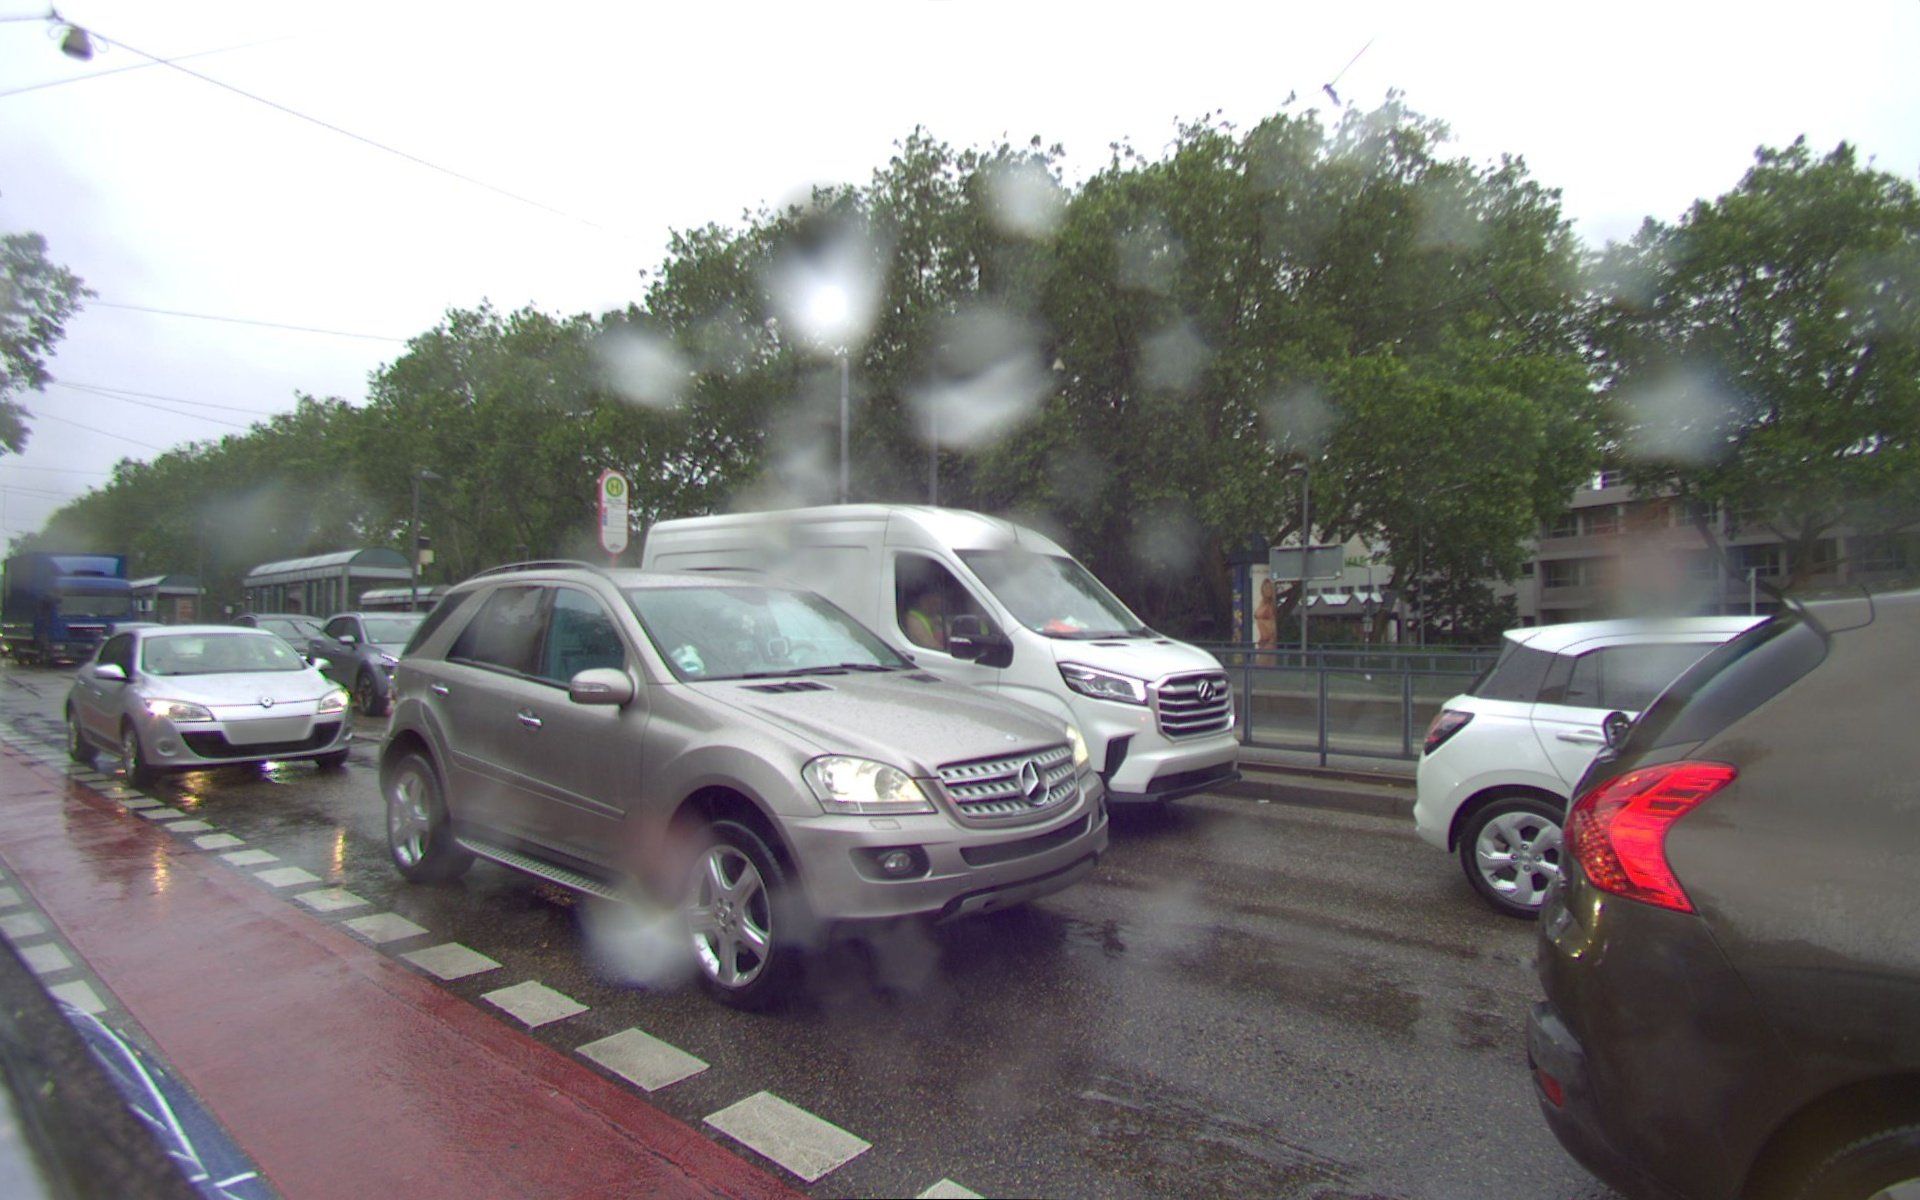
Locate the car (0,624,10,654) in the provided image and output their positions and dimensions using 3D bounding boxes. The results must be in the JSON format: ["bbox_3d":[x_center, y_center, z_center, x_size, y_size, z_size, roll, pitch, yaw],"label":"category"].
[{"bbox_3d":[-52.358,2.096,54.064,3.998,1.589,1.973,-1,-1,41],"label":"car"}]

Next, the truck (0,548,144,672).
[{"bbox_3d":[-32.131,0.451,36.210,9.803,3.919,2.513,-1,-3,40],"label":"truck"}]

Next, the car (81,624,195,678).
[{"bbox_3d":[-24.518,1.460,30.152,4.074,1.498,1.871,-1,-2,40],"label":"car"}]

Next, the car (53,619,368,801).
[{"bbox_3d":[-7.814,0.960,10.417,3.998,1.489,1.750,-1,-1,40],"label":"car"}]

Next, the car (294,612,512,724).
[{"bbox_3d":[-9.489,1.058,17.090,4.454,1.636,1.894,-1,-2,43],"label":"car"}]

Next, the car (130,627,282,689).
[{"bbox_3d":[-18.833,1.384,25.203,4.602,1.405,1.973,-1,-3,40],"label":"car"}]

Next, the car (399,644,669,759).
[{"bbox_3d":[-5.451,1.169,12.710,4.084,1.126,1.448,-1,-1,40],"label":"car"}]

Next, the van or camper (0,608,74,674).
[{"bbox_3d":[-40.043,1.704,43.544,6.427,2.590,1.973,-1,0,41],"label":"van or camper"}]

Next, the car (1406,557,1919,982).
[{"bbox_3d":[4.255,0.667,4.520,3.834,1.641,1.628,-1,-2,41],"label":"car"}]

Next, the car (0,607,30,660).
[{"bbox_3d":[-46.573,1.620,48.890,5.727,2.445,1.972,-1,0,43],"label":"car"}]

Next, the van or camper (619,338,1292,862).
[{"bbox_3d":[-0.378,0.060,8.815,5.846,3.166,2.136,-1,-2,40],"label":"van or camper"}]

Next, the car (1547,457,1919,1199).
[{"bbox_3d":[3.284,0.593,1.236,4.170,1.681,1.815,-1,-1,41],"label":"car"}]

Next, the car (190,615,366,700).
[{"bbox_3d":[-14.651,1.165,21.677,4.316,1.633,1.974,-1,-2,40],"label":"car"}]

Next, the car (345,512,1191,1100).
[{"bbox_3d":[-1.289,0.658,5.297,4.459,1.783,2.004,-1,-1,40],"label":"car"}]
